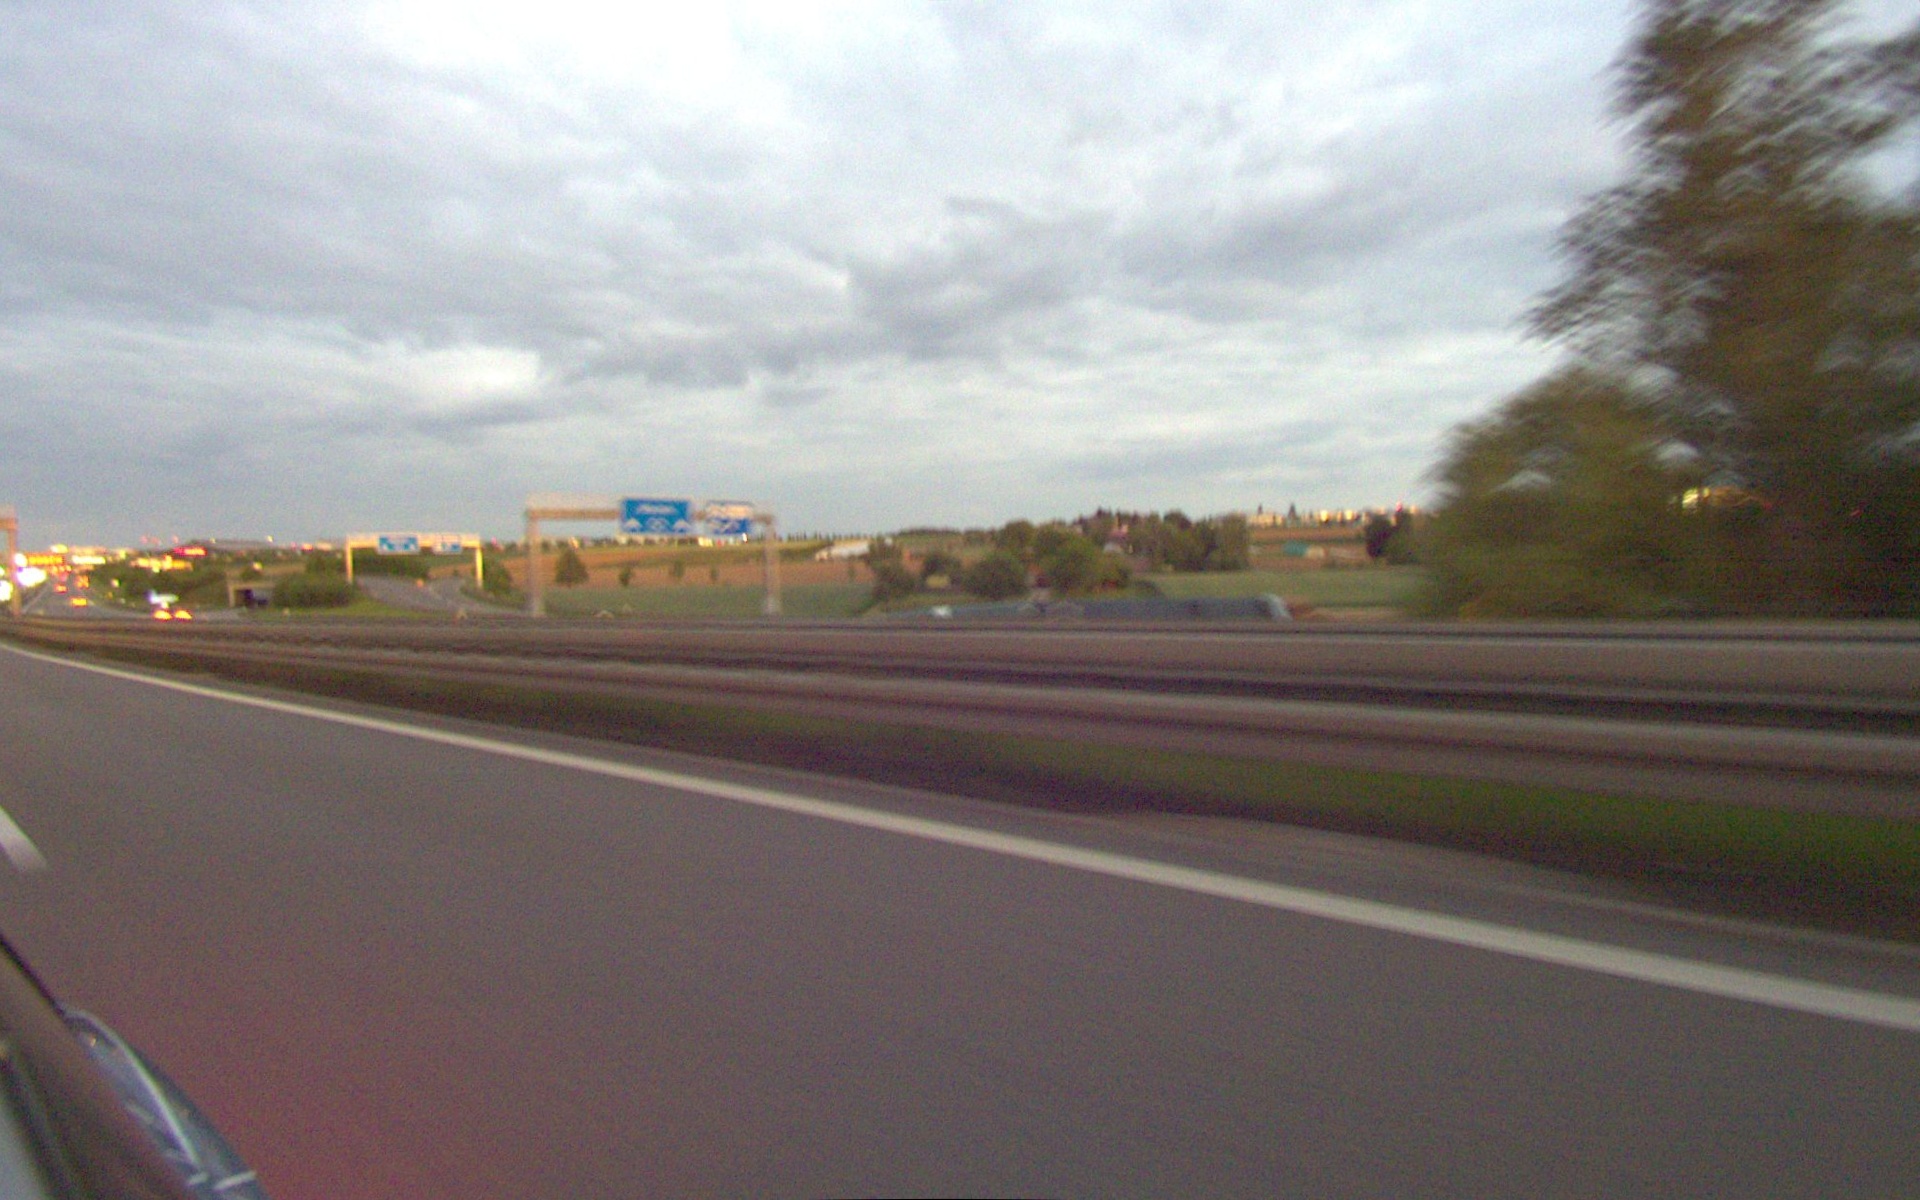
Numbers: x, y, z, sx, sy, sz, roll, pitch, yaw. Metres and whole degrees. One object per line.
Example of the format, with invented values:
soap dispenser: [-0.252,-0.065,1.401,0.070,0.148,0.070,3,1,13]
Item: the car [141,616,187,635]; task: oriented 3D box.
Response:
car: [-62.111,1.979,78.953,4.863,1.368,1.973,-2,-1,41]
